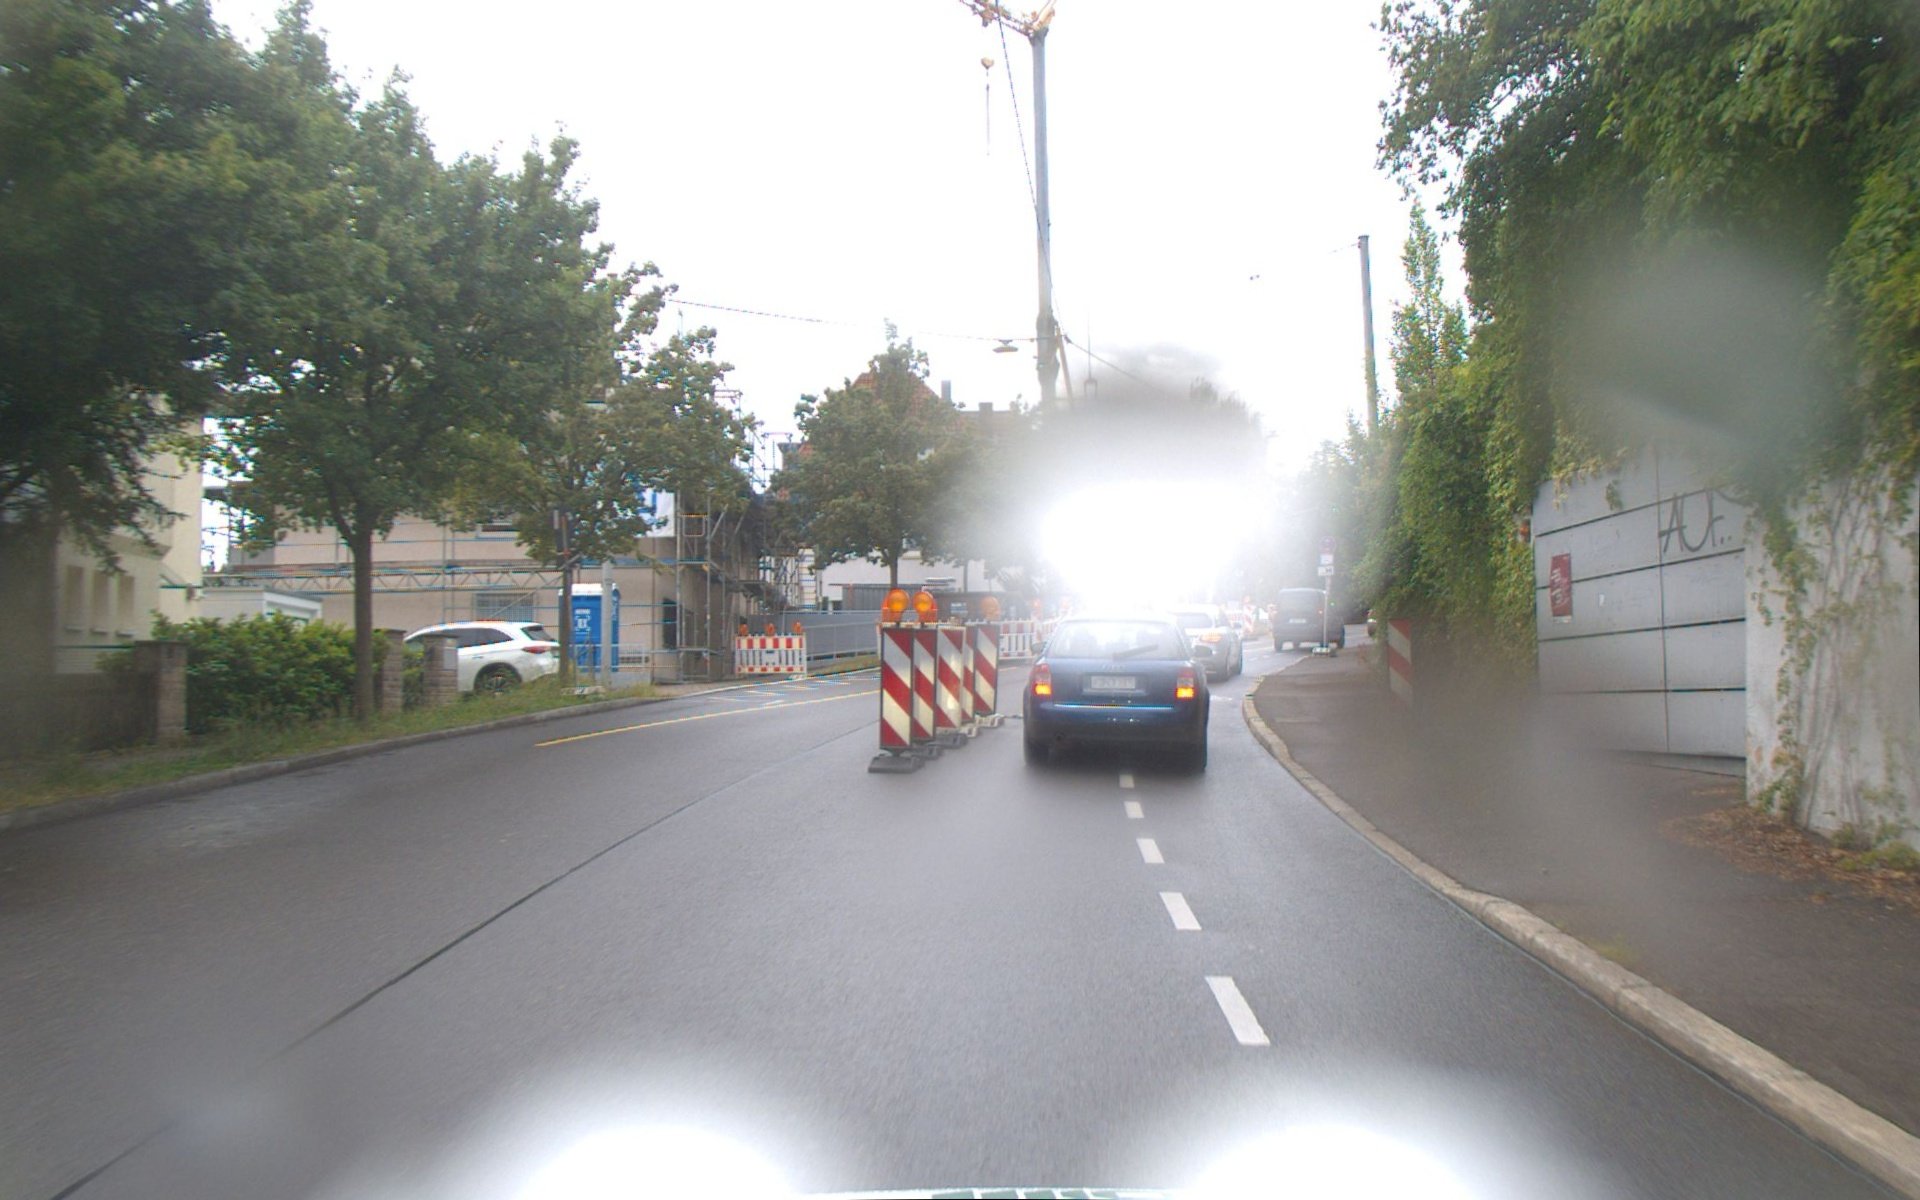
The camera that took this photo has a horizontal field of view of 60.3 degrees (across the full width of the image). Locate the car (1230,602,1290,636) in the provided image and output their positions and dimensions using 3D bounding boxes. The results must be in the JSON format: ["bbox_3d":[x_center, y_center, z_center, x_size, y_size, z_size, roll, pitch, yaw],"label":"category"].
[{"bbox_3d":[16.646,1.065,91.856,1.656,1.535,3.995,-4,-3,-15],"label":"car"}]

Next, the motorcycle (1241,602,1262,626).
[{"bbox_3d":[15.010,0.725,85.174,0.579,1.150,1.842,-4,-1,24],"label":"motorcycle"}]

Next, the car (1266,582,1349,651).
[{"bbox_3d":[10.728,0.481,50.868,1.695,1.927,4.055,-4,-1,22],"label":"car"}]

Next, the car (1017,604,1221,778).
[{"bbox_3d":[1.591,0.804,16.368,1.739,1.464,4.003,1,0,6],"label":"car"}]

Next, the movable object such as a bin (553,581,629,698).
[{"bbox_3d":[-8.254,0.878,37.070,1.285,2.549,1.387,-1,0,3],"label":"movable object such as a bin"}]

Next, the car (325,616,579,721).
[{"bbox_3d":[-9.604,1.289,31.490,4.111,1.632,1.951,-4,-2,1],"label":"car"}]

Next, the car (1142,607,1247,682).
[{"bbox_3d":[4.840,0.859,33.738,1.868,1.413,4.354,0,0,11],"label":"car"}]
